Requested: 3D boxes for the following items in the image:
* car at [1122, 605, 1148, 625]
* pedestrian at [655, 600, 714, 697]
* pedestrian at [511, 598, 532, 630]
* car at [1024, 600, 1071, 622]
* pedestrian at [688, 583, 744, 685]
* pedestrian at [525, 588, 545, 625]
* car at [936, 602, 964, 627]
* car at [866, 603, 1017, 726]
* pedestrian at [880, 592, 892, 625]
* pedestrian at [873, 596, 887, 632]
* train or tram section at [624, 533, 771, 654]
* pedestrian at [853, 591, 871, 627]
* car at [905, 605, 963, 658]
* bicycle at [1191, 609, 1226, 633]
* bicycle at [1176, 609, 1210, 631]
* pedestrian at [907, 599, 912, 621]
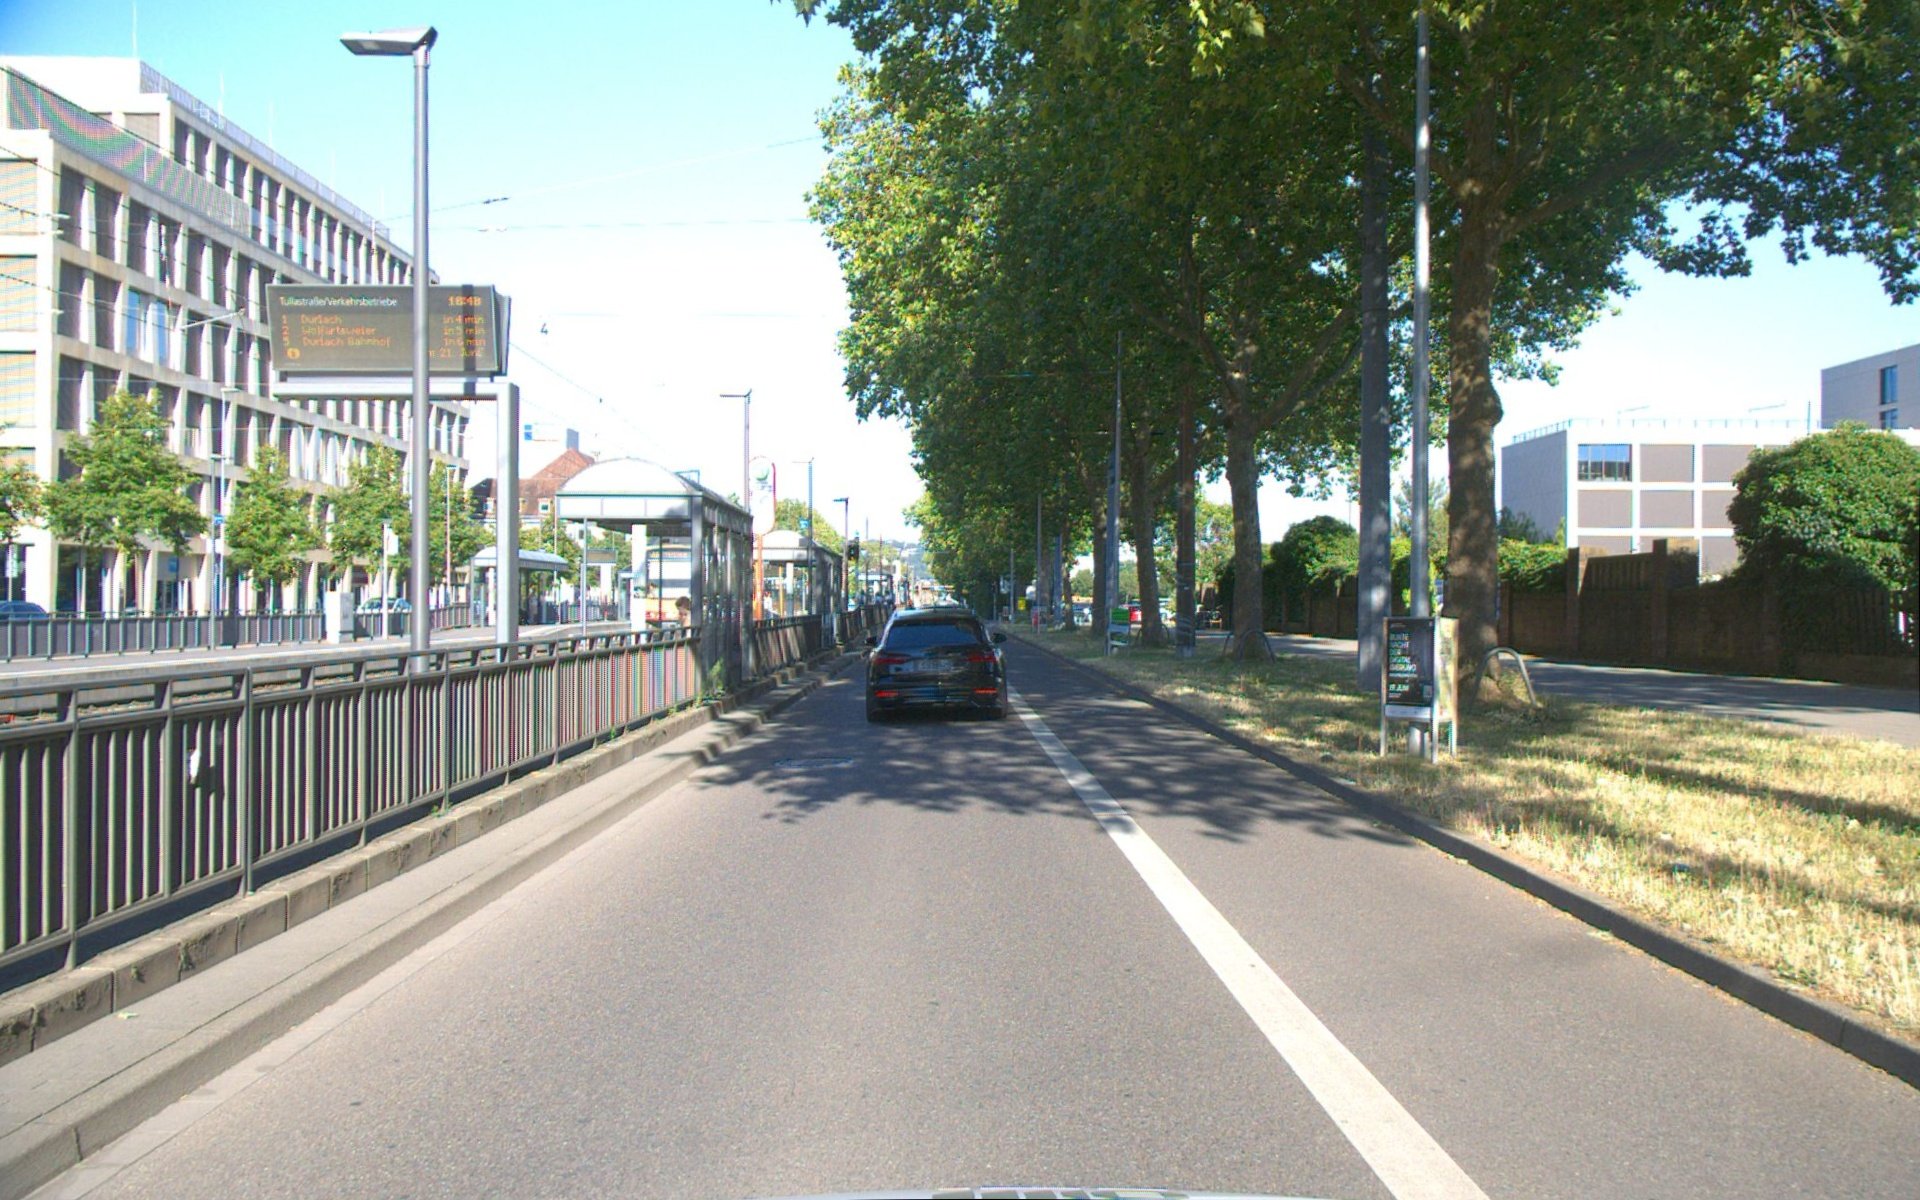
[{"bbox_3d":[13.836,1.213,130.921,1.581,1.542,3.802,0,0,0],"label":"car"},{"bbox_3d":[-3.753,0.655,22.569,0.727,1.296,0.524,0,0,-1],"label":"pedestrian"},{"bbox_3d":[-17.758,0.554,67.023,0.601,1.282,0.725,0,-1,3],"label":"pedestrian"},{"bbox_3d":[7.345,0.947,139.550,3.905,1.795,1.833,0,-1,0],"label":"car"},{"bbox_3d":[-3.747,0.518,25.429,0.730,1.535,0.666,0,0,2],"label":"pedestrian"},{"bbox_3d":[-17.872,0.258,69.561,0.601,1.554,0.725,0,-1,8],"label":"pedestrian"},{"bbox_3d":[-0.716,0.979,112.600,1.727,1.647,3.998,0,0,-3],"label":"car"},{"bbox_3d":[-0.306,0.797,22.238,1.840,1.482,3.355,-1,0,-3],"label":"car"},{"bbox_3d":[-4.080,0.474,90.931,0.599,1.815,0.613,0,-1,0],"label":"pedestrian"},{"bbox_3d":[-3.791,0.648,78.398,0.599,1.698,0.613,0,-1,1],"label":"pedestrian"},{"bbox_3d":[-9.271,-0.161,60.506,3.241,3.896,14.216,0,0,-1],"label":"train or tram section"},{"bbox_3d":[-4.301,0.409,72.694,0.601,1.576,0.725,0,-1,10],"label":"pedestrian"},{"bbox_3d":[-0.876,0.990,53.155,1.727,1.647,3.998,0,0,-3],"label":"car"},{"bbox_3d":[12.250,1.028,81.458,1.653,1.140,0.439,-1,-1,-2],"label":"bicycle"},{"bbox_3d":[12.357,1.051,87.741,1.737,1.140,0.439,-1,-1,-2],"label":"bicycle"},{"bbox_3d":[-3.897,0.769,127.990,0.403,1.747,0.665,0,-1,-1],"label":"pedestrian"}]
